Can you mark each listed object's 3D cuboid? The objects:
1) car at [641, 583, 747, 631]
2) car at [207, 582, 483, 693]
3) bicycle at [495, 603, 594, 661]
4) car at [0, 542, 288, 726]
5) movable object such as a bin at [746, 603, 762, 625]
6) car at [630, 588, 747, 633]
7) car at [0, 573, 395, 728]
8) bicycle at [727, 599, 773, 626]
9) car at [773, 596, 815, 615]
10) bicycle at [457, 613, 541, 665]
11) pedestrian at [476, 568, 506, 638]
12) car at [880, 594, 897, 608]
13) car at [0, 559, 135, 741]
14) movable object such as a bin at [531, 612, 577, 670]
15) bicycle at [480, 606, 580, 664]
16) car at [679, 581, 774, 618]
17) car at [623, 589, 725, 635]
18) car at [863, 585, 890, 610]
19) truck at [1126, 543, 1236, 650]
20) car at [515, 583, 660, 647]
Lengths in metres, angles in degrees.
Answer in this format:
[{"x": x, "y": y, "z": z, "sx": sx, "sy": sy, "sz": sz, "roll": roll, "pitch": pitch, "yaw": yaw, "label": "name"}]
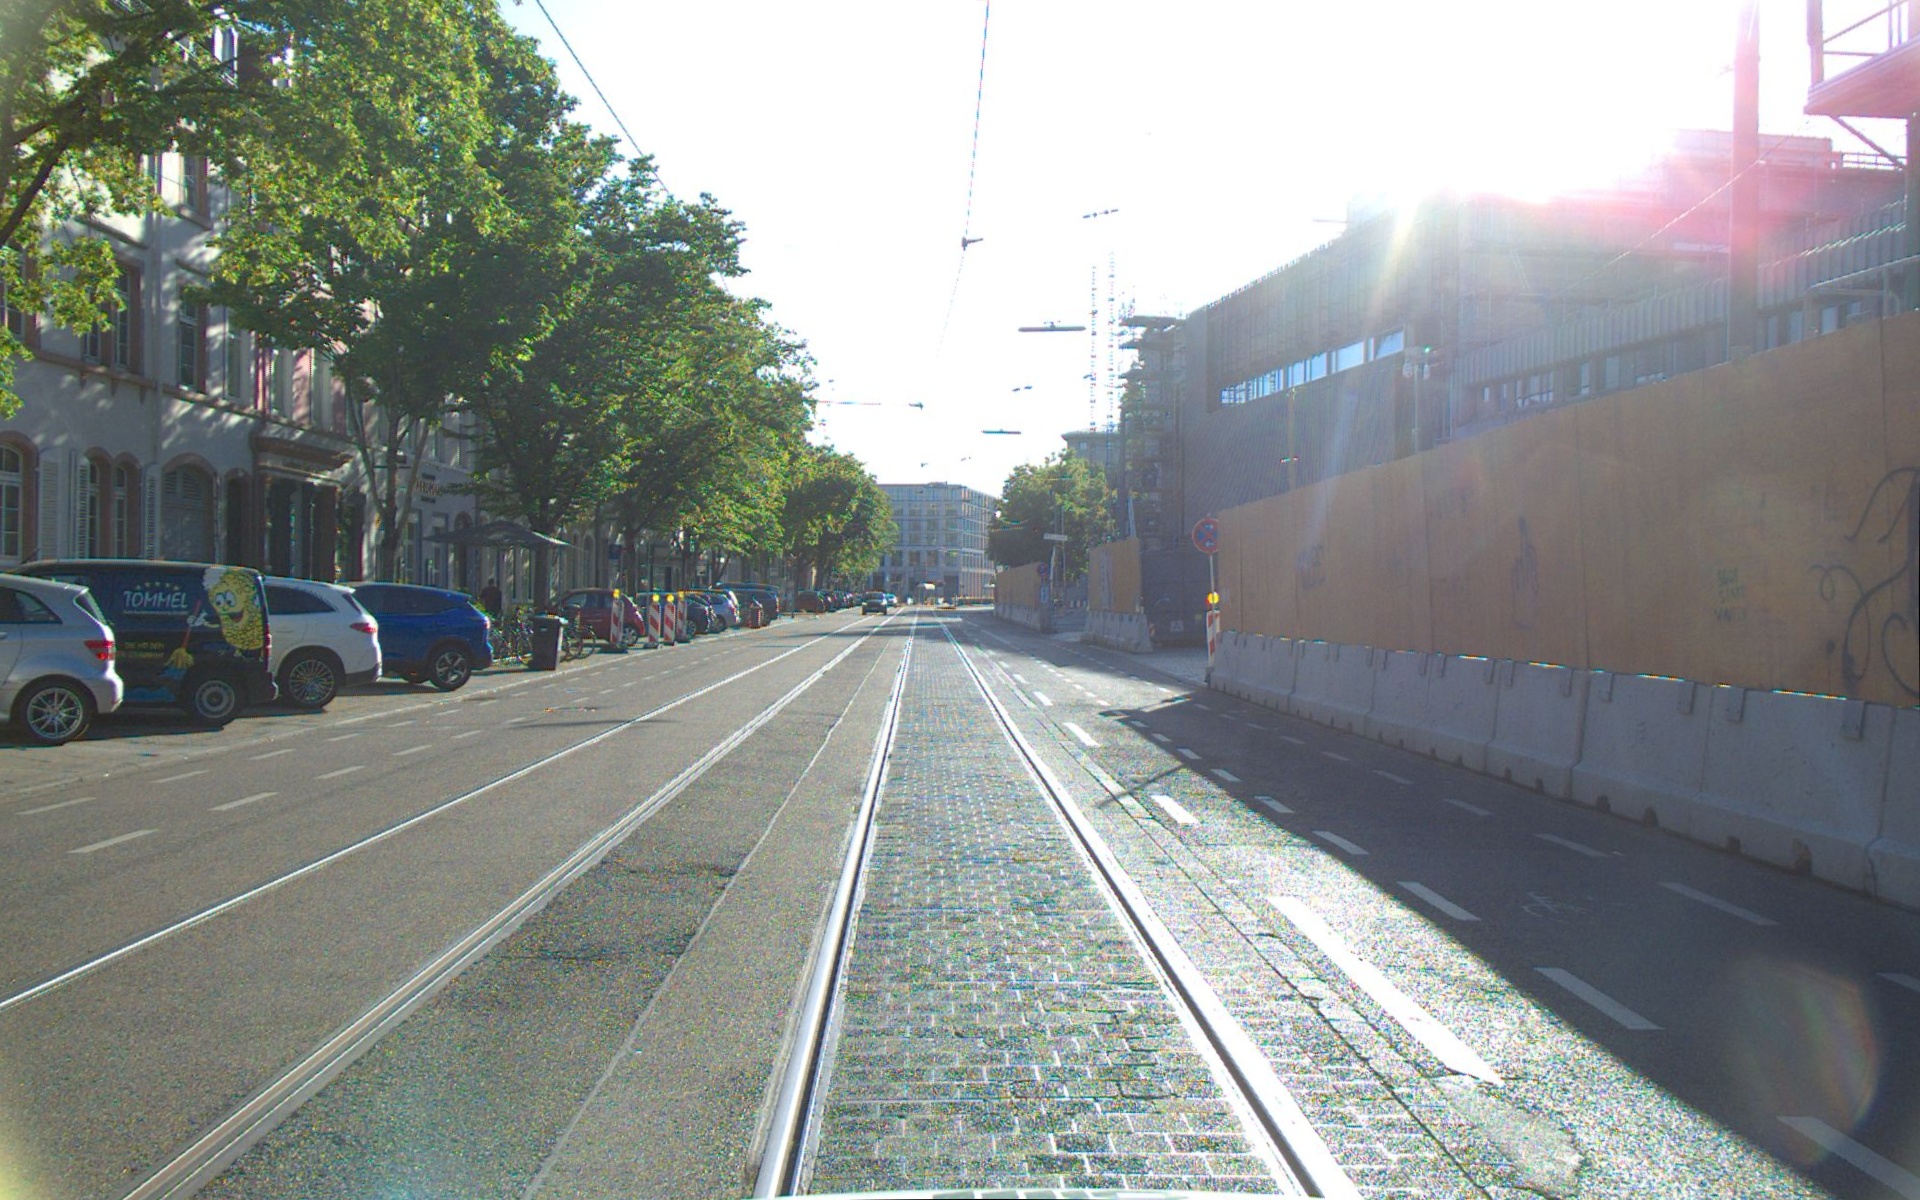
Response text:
[{"x": -10.771, "y": 0.271, "z": 67.143, "sx": 4.023, "sy": 1.707, "sz": 1.840, "roll": 3, "pitch": 0, "yaw": -4, "label": "car"}, {"x": -9.748, "y": 0.539, "z": 26.339, "sx": 3.863, "sy": 1.637, "sz": 1.552, "roll": 0, "pitch": 0, "yaw": -38, "label": "car"}, {"x": -9.200, "y": 0.709, "z": 36.649, "sx": 1.962, "sy": 1.106, "sz": 0.567, "roll": 5, "pitch": 0, "yaw": 1, "label": "bicycle"}, {"x": -9.604, "y": 0.405, "z": 18.664, "sx": 3.404, "sy": 1.875, "sz": 1.713, "roll": 4, "pitch": -3, "yaw": -34, "label": "car"}, {"x": -9.094, "y": 0.633, "z": 73.035, "sx": 0.566, "sy": 0.929, "sz": 0.573, "roll": 3, "pitch": 1, "yaw": -17, "label": "movable object such as a bin"}, {"x": -10.455, "y": 0.412, "z": 63.689, "sx": 4.057, "sy": 1.539, "sz": 1.824, "roll": 2, "pitch": 0, "yaw": -28, "label": "car"}, {"x": -10.153, "y": 0.609, "z": 21.576, "sx": 4.882, "sy": 1.826, "sz": 2.182, "roll": 1, "pitch": 0, "yaw": -35, "label": "car"}, {"x": -9.389, "y": 0.560, "z": 73.889, "sx": 1.936, "sy": 1.164, "sz": 0.490, "roll": 3, "pitch": -1, "yaw": -20, "label": "bicycle"}, {"x": -12.340, "y": 0.405, "z": 123.106, "sx": 2.901, "sy": 1.355, "sz": 1.204, "roll": 0, "pitch": 0, "yaw": -29, "label": "car"}, {"x": -9.368, "y": 0.791, "z": 33.637, "sx": 1.571, "sy": 1.005, "sz": 0.388, "roll": 2, "pitch": 0, "yaw": -12, "label": "bicycle"}, {"x": -13.810, "y": 0.083, "z": 48.730, "sx": 0.716, "sy": 2.049, "sz": 0.556, "roll": 0, "pitch": 0, "yaw": 0, "label": "pedestrian"}, {"x": -7.900, "y": 0.122, "z": 182.241, "sx": 1.674, "sy": 1.461, "sz": 4.170, "roll": 1, "pitch": 0, "yaw": -1, "label": "car"}, {"x": -10.277, "y": 0.414, "z": 15.978, "sx": 3.947, "sy": 1.685, "sz": 1.791, "roll": 3, "pitch": 0, "yaw": -32, "label": "car"}, {"x": -8.109, "y": 0.811, "z": 33.074, "sx": 0.670, "sy": 1.096, "sz": 0.710, "roll": 4, "pitch": 0, "yaw": 0, "label": "movable object such as a bin"}, {"x": -9.181, "y": 0.742, "z": 35.319, "sx": 1.927, "sy": 1.098, "sz": 0.568, "roll": 3, "pitch": 0, "yaw": 1, "label": "bicycle"}, {"x": -11.026, "y": -0.047, "z": 78.210, "sx": 4.176, "sy": 1.714, "sz": 1.799, "roll": 0, "pitch": 0, "yaw": -22, "label": "car"}, {"x": -10.509, "y": 0.443, "z": 60.787, "sx": 3.326, "sy": 1.519, "sz": 1.597, "roll": 3, "pitch": 0, "yaw": -30, "label": "car"}, {"x": -6.148, "y": -0.212, "z": 122.535, "sx": 1.889, "sy": 1.657, "sz": 4.247, "roll": -2, "pitch": 1, "yaw": -2, "label": "car"}, {"x": 6.535, "y": -0.108, "z": 49.641, "sx": 2.468, "sy": 2.960, "sz": 5.507, "roll": -2, "pitch": 0, "yaw": 0, "label": "truck"}, {"x": -10.292, "y": 0.407, "z": 45.672, "sx": 3.571, "sy": 1.580, "sz": 1.654, "roll": 2, "pitch": 1, "yaw": -28, "label": "car"}]
